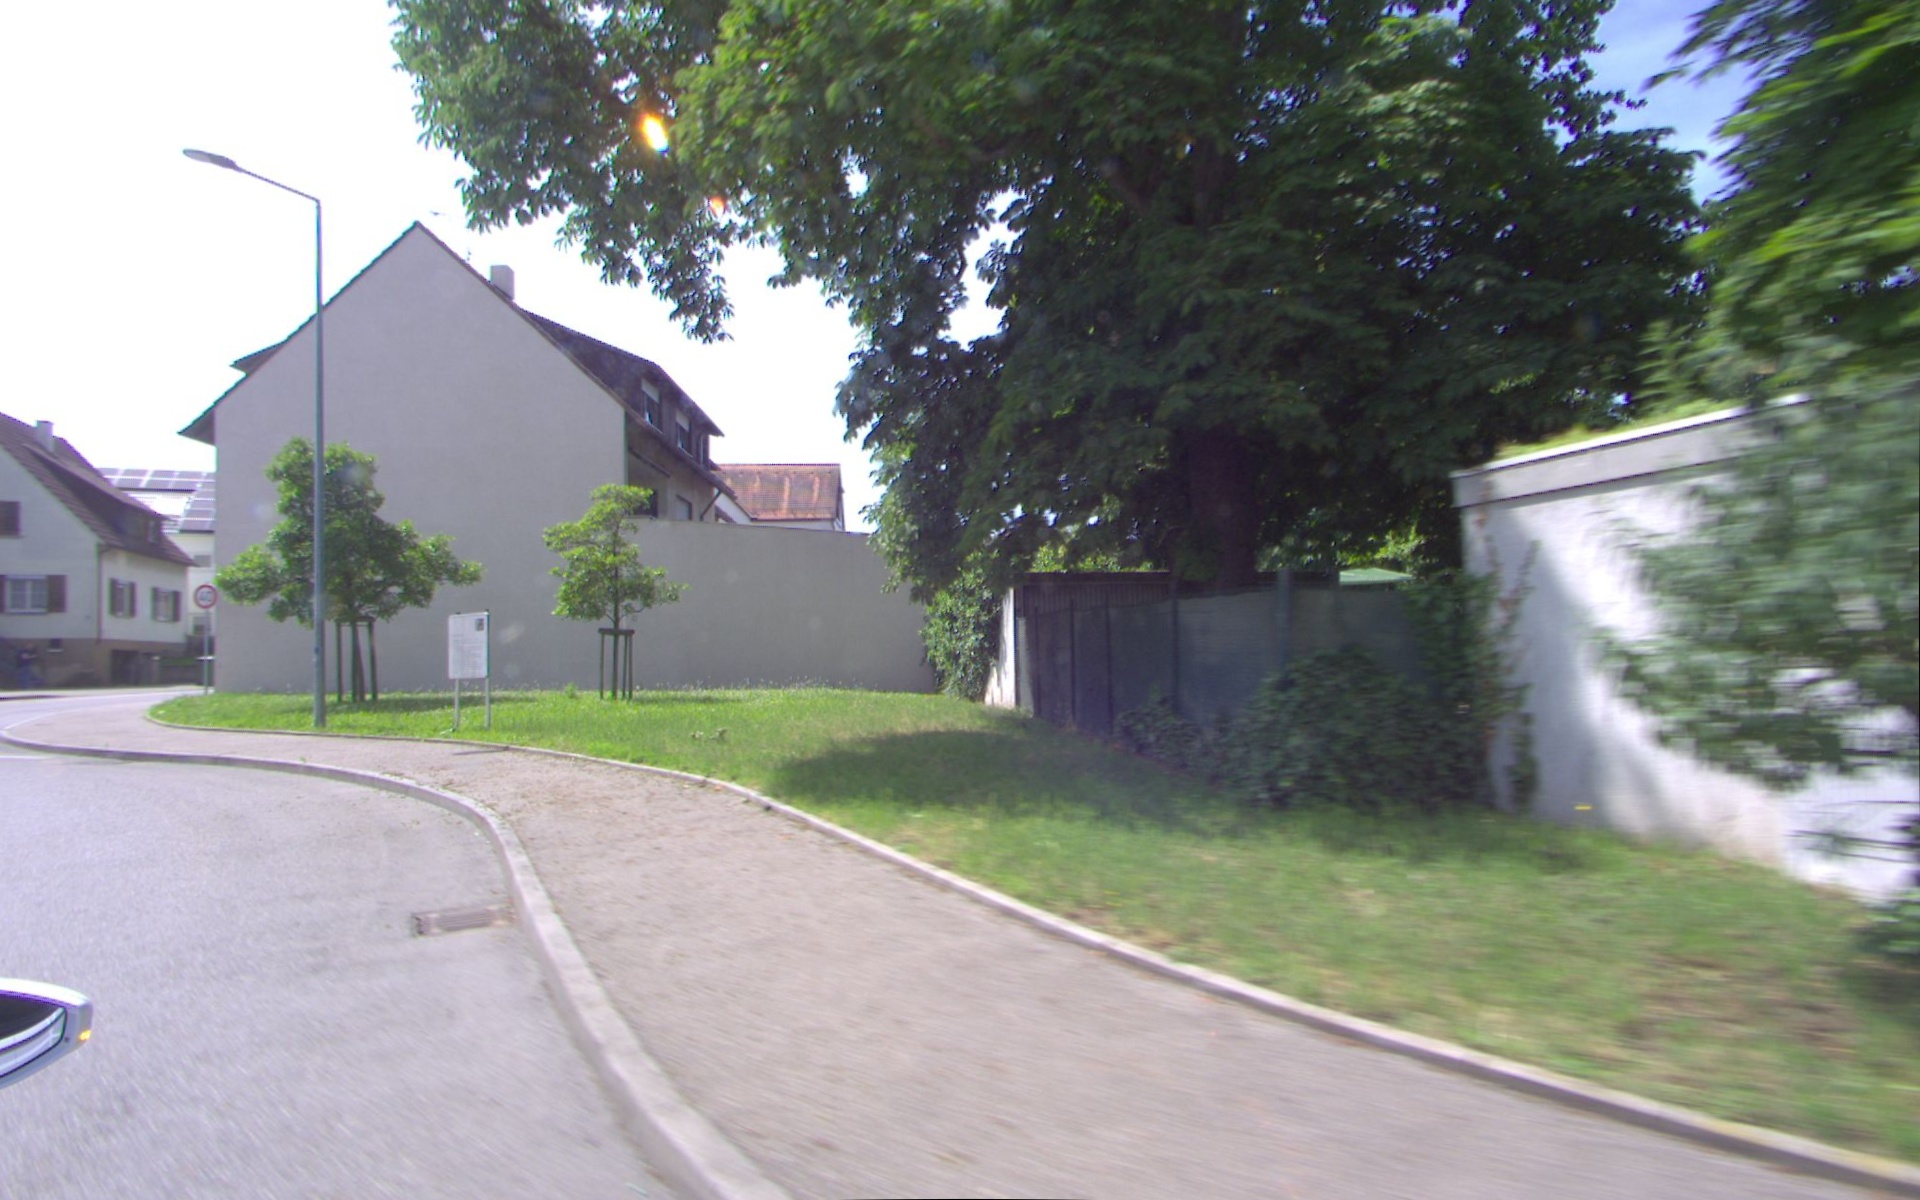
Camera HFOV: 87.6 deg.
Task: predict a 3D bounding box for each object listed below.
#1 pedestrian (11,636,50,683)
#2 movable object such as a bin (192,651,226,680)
[{"bbox_3d":[-32.248,2.055,34.751,0.765,1.594,0.627,1,-1,-12],"label":"pedestrian"},{"bbox_3d":[-28.064,2.433,37.419,0.778,1.071,0.651,0,-1,-7],"label":"movable object such as a bin"}]
